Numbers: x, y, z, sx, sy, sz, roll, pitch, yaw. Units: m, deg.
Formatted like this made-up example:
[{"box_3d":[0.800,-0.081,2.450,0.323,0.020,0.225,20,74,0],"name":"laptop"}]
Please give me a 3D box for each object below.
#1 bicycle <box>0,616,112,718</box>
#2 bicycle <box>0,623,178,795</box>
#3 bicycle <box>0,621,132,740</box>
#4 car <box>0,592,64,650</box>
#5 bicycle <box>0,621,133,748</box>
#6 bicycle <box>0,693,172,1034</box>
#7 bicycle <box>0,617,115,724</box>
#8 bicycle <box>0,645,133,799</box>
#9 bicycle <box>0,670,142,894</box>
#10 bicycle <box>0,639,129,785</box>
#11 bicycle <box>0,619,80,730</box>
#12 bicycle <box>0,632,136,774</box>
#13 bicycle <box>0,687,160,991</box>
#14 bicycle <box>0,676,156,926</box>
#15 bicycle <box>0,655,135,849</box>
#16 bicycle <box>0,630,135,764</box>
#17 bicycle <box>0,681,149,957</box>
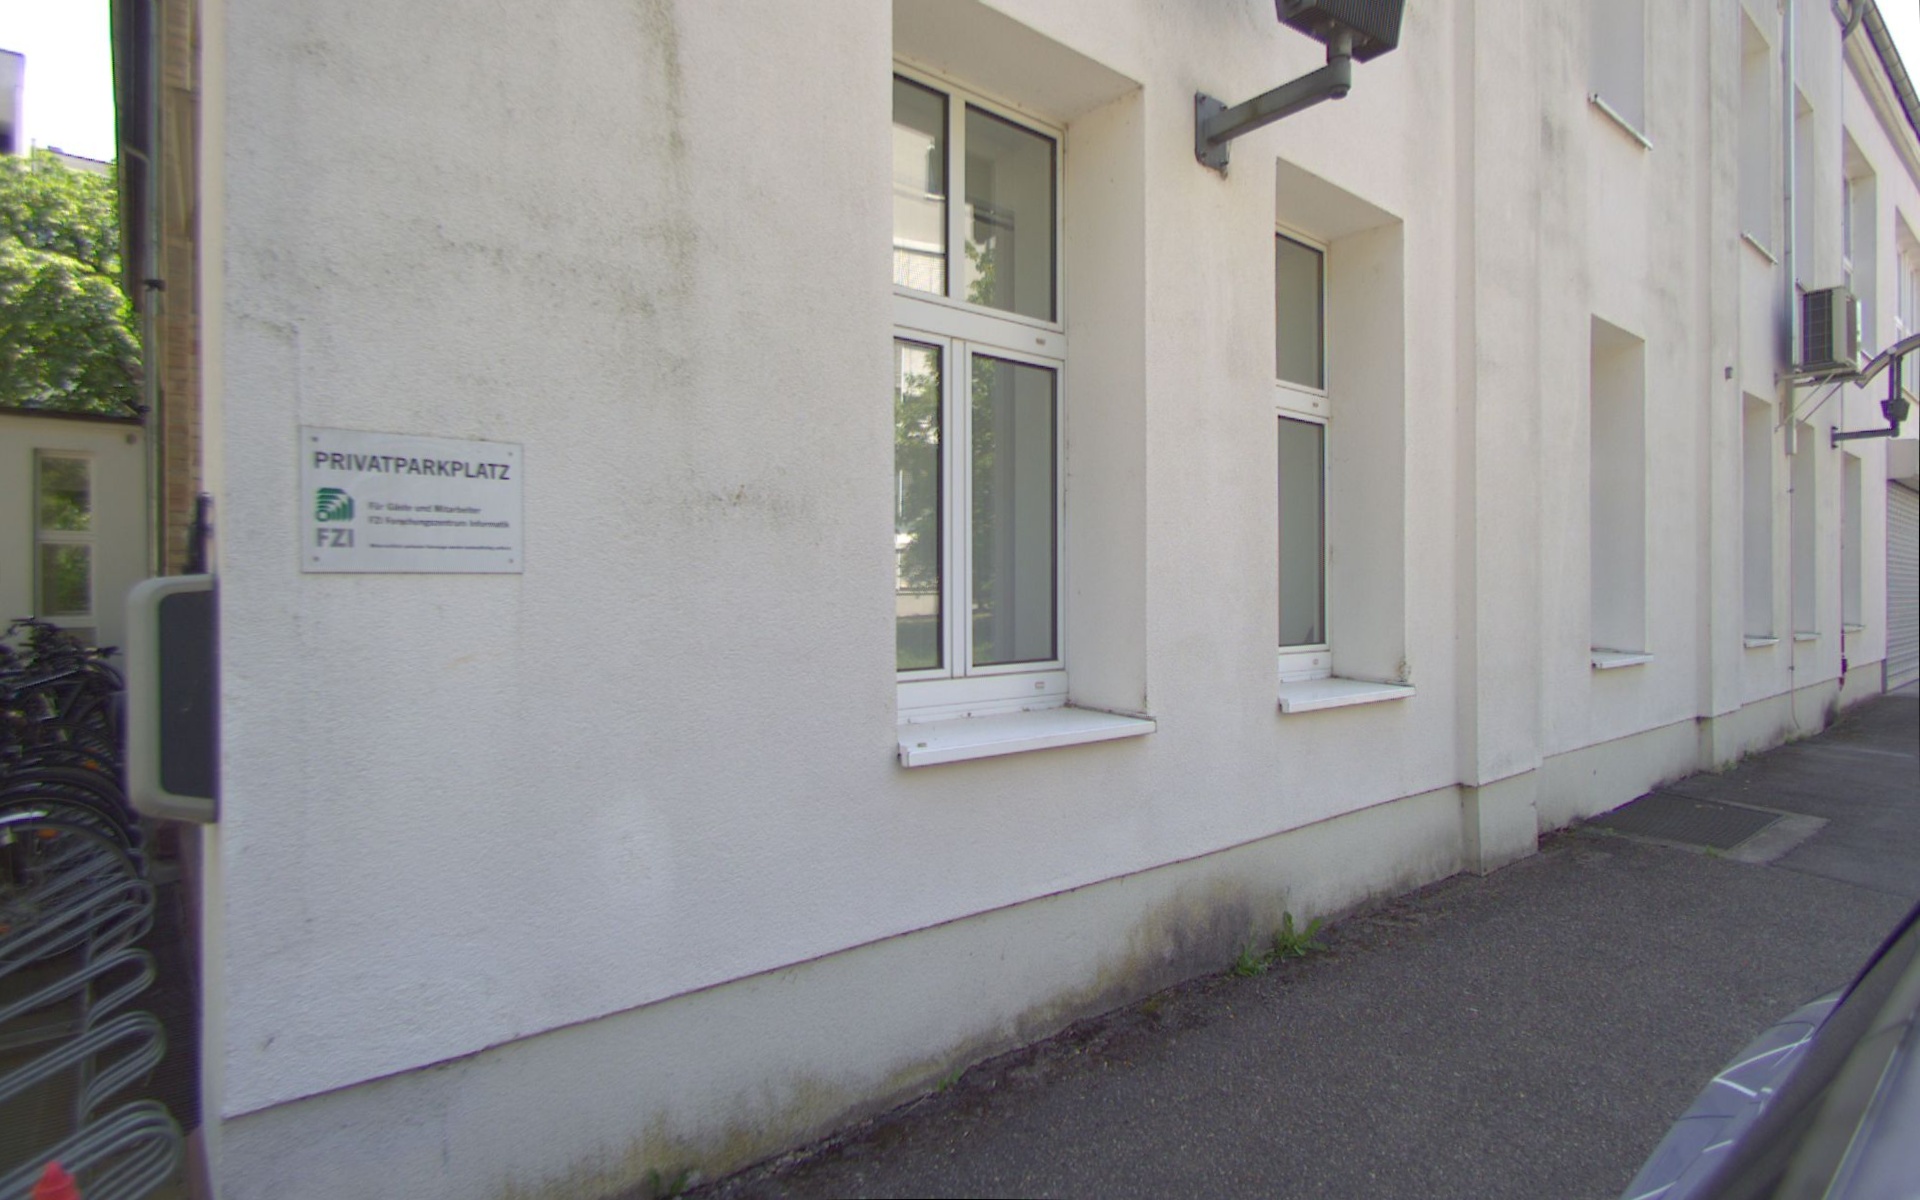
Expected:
[{"box_3d":[-11.410,0.802,12.180,1.809,1.157,0.589,-1,1,-39],"name":"bicycle"},{"box_3d":[-6.579,0.744,7.068,0.466,1.117,1.824,0,0,18],"name":"bicycle"},{"box_3d":[-9.883,0.842,10.634,1.809,1.157,0.589,-1,1,-39],"name":"bicycle"},{"box_3d":[-25.905,0.587,26.075,1.686,1.482,3.909,0,1,22],"name":"car"},{"box_3d":[-9.212,0.821,9.822,1.809,1.157,0.589,-1,1,-39],"name":"bicycle"},{"box_3d":[-3.728,0.929,3.312,1.802,1.081,0.454,-1,0,-39],"name":"bicycle"},{"box_3d":[-10.908,0.806,11.626,1.809,1.157,0.589,-1,1,-39],"name":"bicycle"},{"box_3d":[-7.413,0.937,7.624,1.802,1.083,0.522,-1,1,-39],"name":"bicycle"},{"box_3d":[-5.325,0.963,5.149,1.802,1.081,0.504,-1,0,-39],"name":"bicycle"},{"box_3d":[-7.923,0.920,8.205,1.809,1.114,0.522,-1,1,-39],"name":"bicycle"},{"box_3d":[-10.711,0.815,10.885,1.807,1.157,0.589,-1,1,-35],"name":"bicycle"},{"box_3d":[-8.381,0.906,8.840,1.809,1.157,0.589,-1,1,-39],"name":"bicycle"},{"box_3d":[-4.096,0.941,3.724,1.802,1.081,0.454,-1,0,-39],"name":"bicycle"},{"box_3d":[-4.809,0.943,4.597,1.802,1.081,0.504,0,0,-39],"name":"bicycle"},{"box_3d":[-6.167,0.940,6.129,1.802,1.117,0.522,0,0,-39],"name":"bicycle"},{"box_3d":[-8.788,0.895,9.330,1.809,1.157,0.589,-1,1,-39],"name":"bicycle"},{"box_3d":[-4.477,0.948,4.135,1.802,1.081,0.504,-1,0,-39],"name":"bicycle"}]
